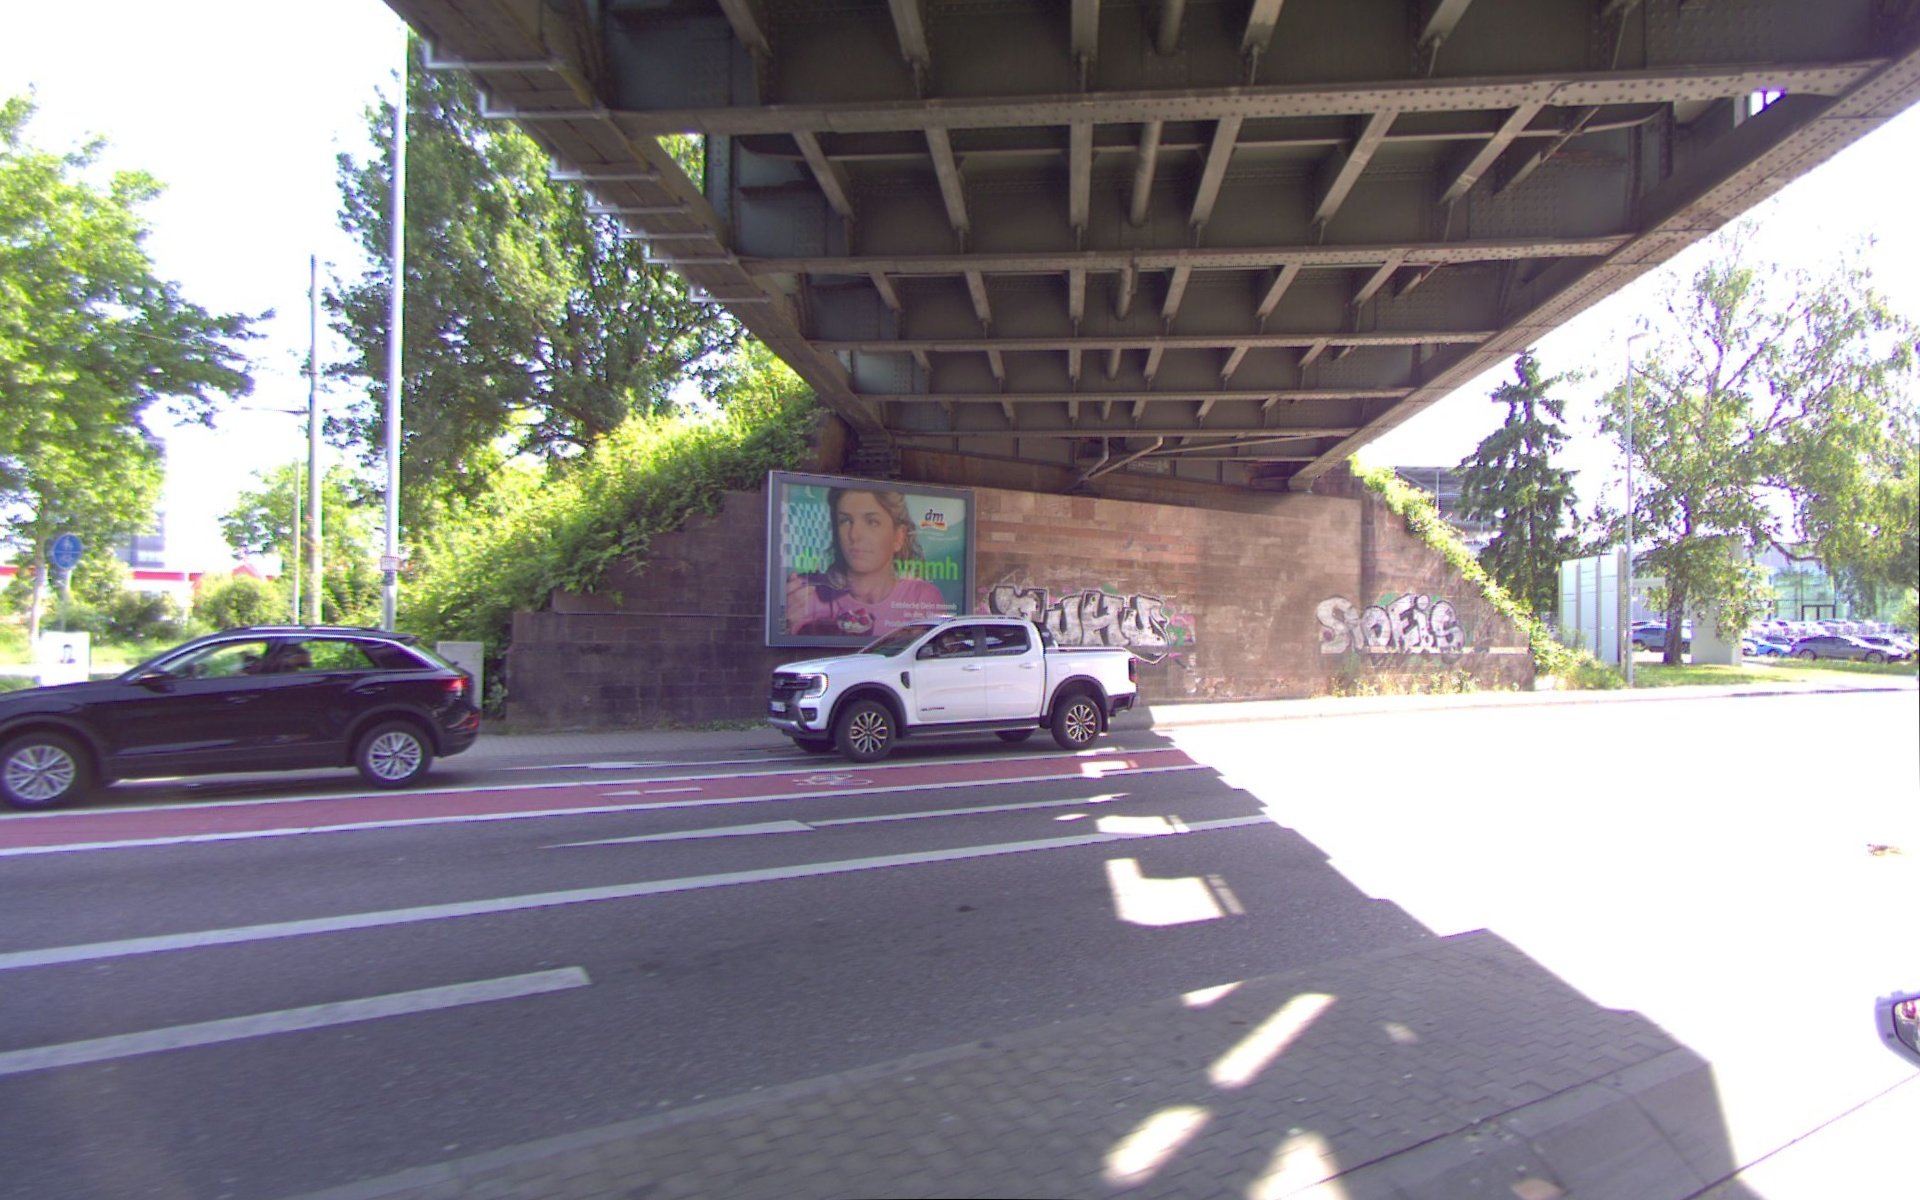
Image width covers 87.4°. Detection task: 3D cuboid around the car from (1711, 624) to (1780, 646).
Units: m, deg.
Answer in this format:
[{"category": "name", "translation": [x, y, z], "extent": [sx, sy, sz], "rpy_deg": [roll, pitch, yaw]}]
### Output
[{"category": "car", "translation": [65.001, 2.891, 83.159], "extent": [1.646, 1.728, 4.247], "rpy_deg": [2, -2, -31]}]

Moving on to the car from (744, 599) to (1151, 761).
[{"category": "car", "translation": [-0.075, 1.060, 13.953], "extent": [5.387, 1.885, 1.985], "rpy_deg": [2, -4, -30]}]

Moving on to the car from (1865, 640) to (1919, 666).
[{"category": "car", "translation": [54.819, 3.080, 57.804], "extent": [1.795, 1.389, 3.663], "rpy_deg": [2, 0, -29]}]

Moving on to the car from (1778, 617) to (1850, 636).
[{"category": "car", "translation": [76.496, 2.349, 90.001], "extent": [1.962, 1.515, 4.499], "rpy_deg": [2, 0, -29]}]

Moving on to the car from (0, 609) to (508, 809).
[{"category": "car", "translation": [-6.857, 0.946, 9.736], "extent": [4.336, 1.617, 1.864], "rpy_deg": [2, -2, -30]}]

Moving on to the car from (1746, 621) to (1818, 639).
[{"category": "car", "translation": [70.975, 2.619, 86.778], "extent": [1.957, 1.504, 4.477], "rpy_deg": [2, -2, -31]}]

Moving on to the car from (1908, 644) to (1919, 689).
[{"category": "car", "translation": [32.059, 2.115, 31.920], "extent": [4.267, 1.406, 1.628], "rpy_deg": [2, -3, -30]}]

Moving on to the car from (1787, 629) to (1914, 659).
[{"category": "car", "translation": [47.298, 2.318, 53.447], "extent": [1.976, 1.408, 4.665], "rpy_deg": [2, 0, -29]}]

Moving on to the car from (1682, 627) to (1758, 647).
[{"category": "car", "translation": [60.498, 2.945, 80.050], "extent": [1.957, 1.504, 4.477], "rpy_deg": [2, -2, -31]}]

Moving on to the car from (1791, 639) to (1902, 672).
[{"category": "car", "translation": [48.632, 3.000, 55.185], "extent": [1.976, 1.567, 4.194], "rpy_deg": [2, 0, -29]}]

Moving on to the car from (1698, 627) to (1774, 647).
[{"category": "car", "translation": [62.911, 2.987, 81.486], "extent": [1.957, 1.504, 4.477], "rpy_deg": [2, -2, -31]}]

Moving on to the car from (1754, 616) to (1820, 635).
[{"category": "car", "translation": [71.359, 2.179, 86.706], "extent": [2.027, 1.515, 3.969], "rpy_deg": [2, 0, -29]}]

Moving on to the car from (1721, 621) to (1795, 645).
[{"category": "car", "translation": [66.959, 2.768, 84.322], "extent": [1.957, 1.988, 4.477], "rpy_deg": [2, -2, -31]}]

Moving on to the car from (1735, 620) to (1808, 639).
[{"category": "car", "translation": [69.201, 2.526, 85.675], "extent": [1.957, 1.571, 4.477], "rpy_deg": [2, -2, -31]}]

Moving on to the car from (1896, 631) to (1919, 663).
[{"category": "car", "translation": [60.667, 2.952, 61.569], "extent": [1.975, 1.900, 4.445], "rpy_deg": [2, 0, -28]}]
